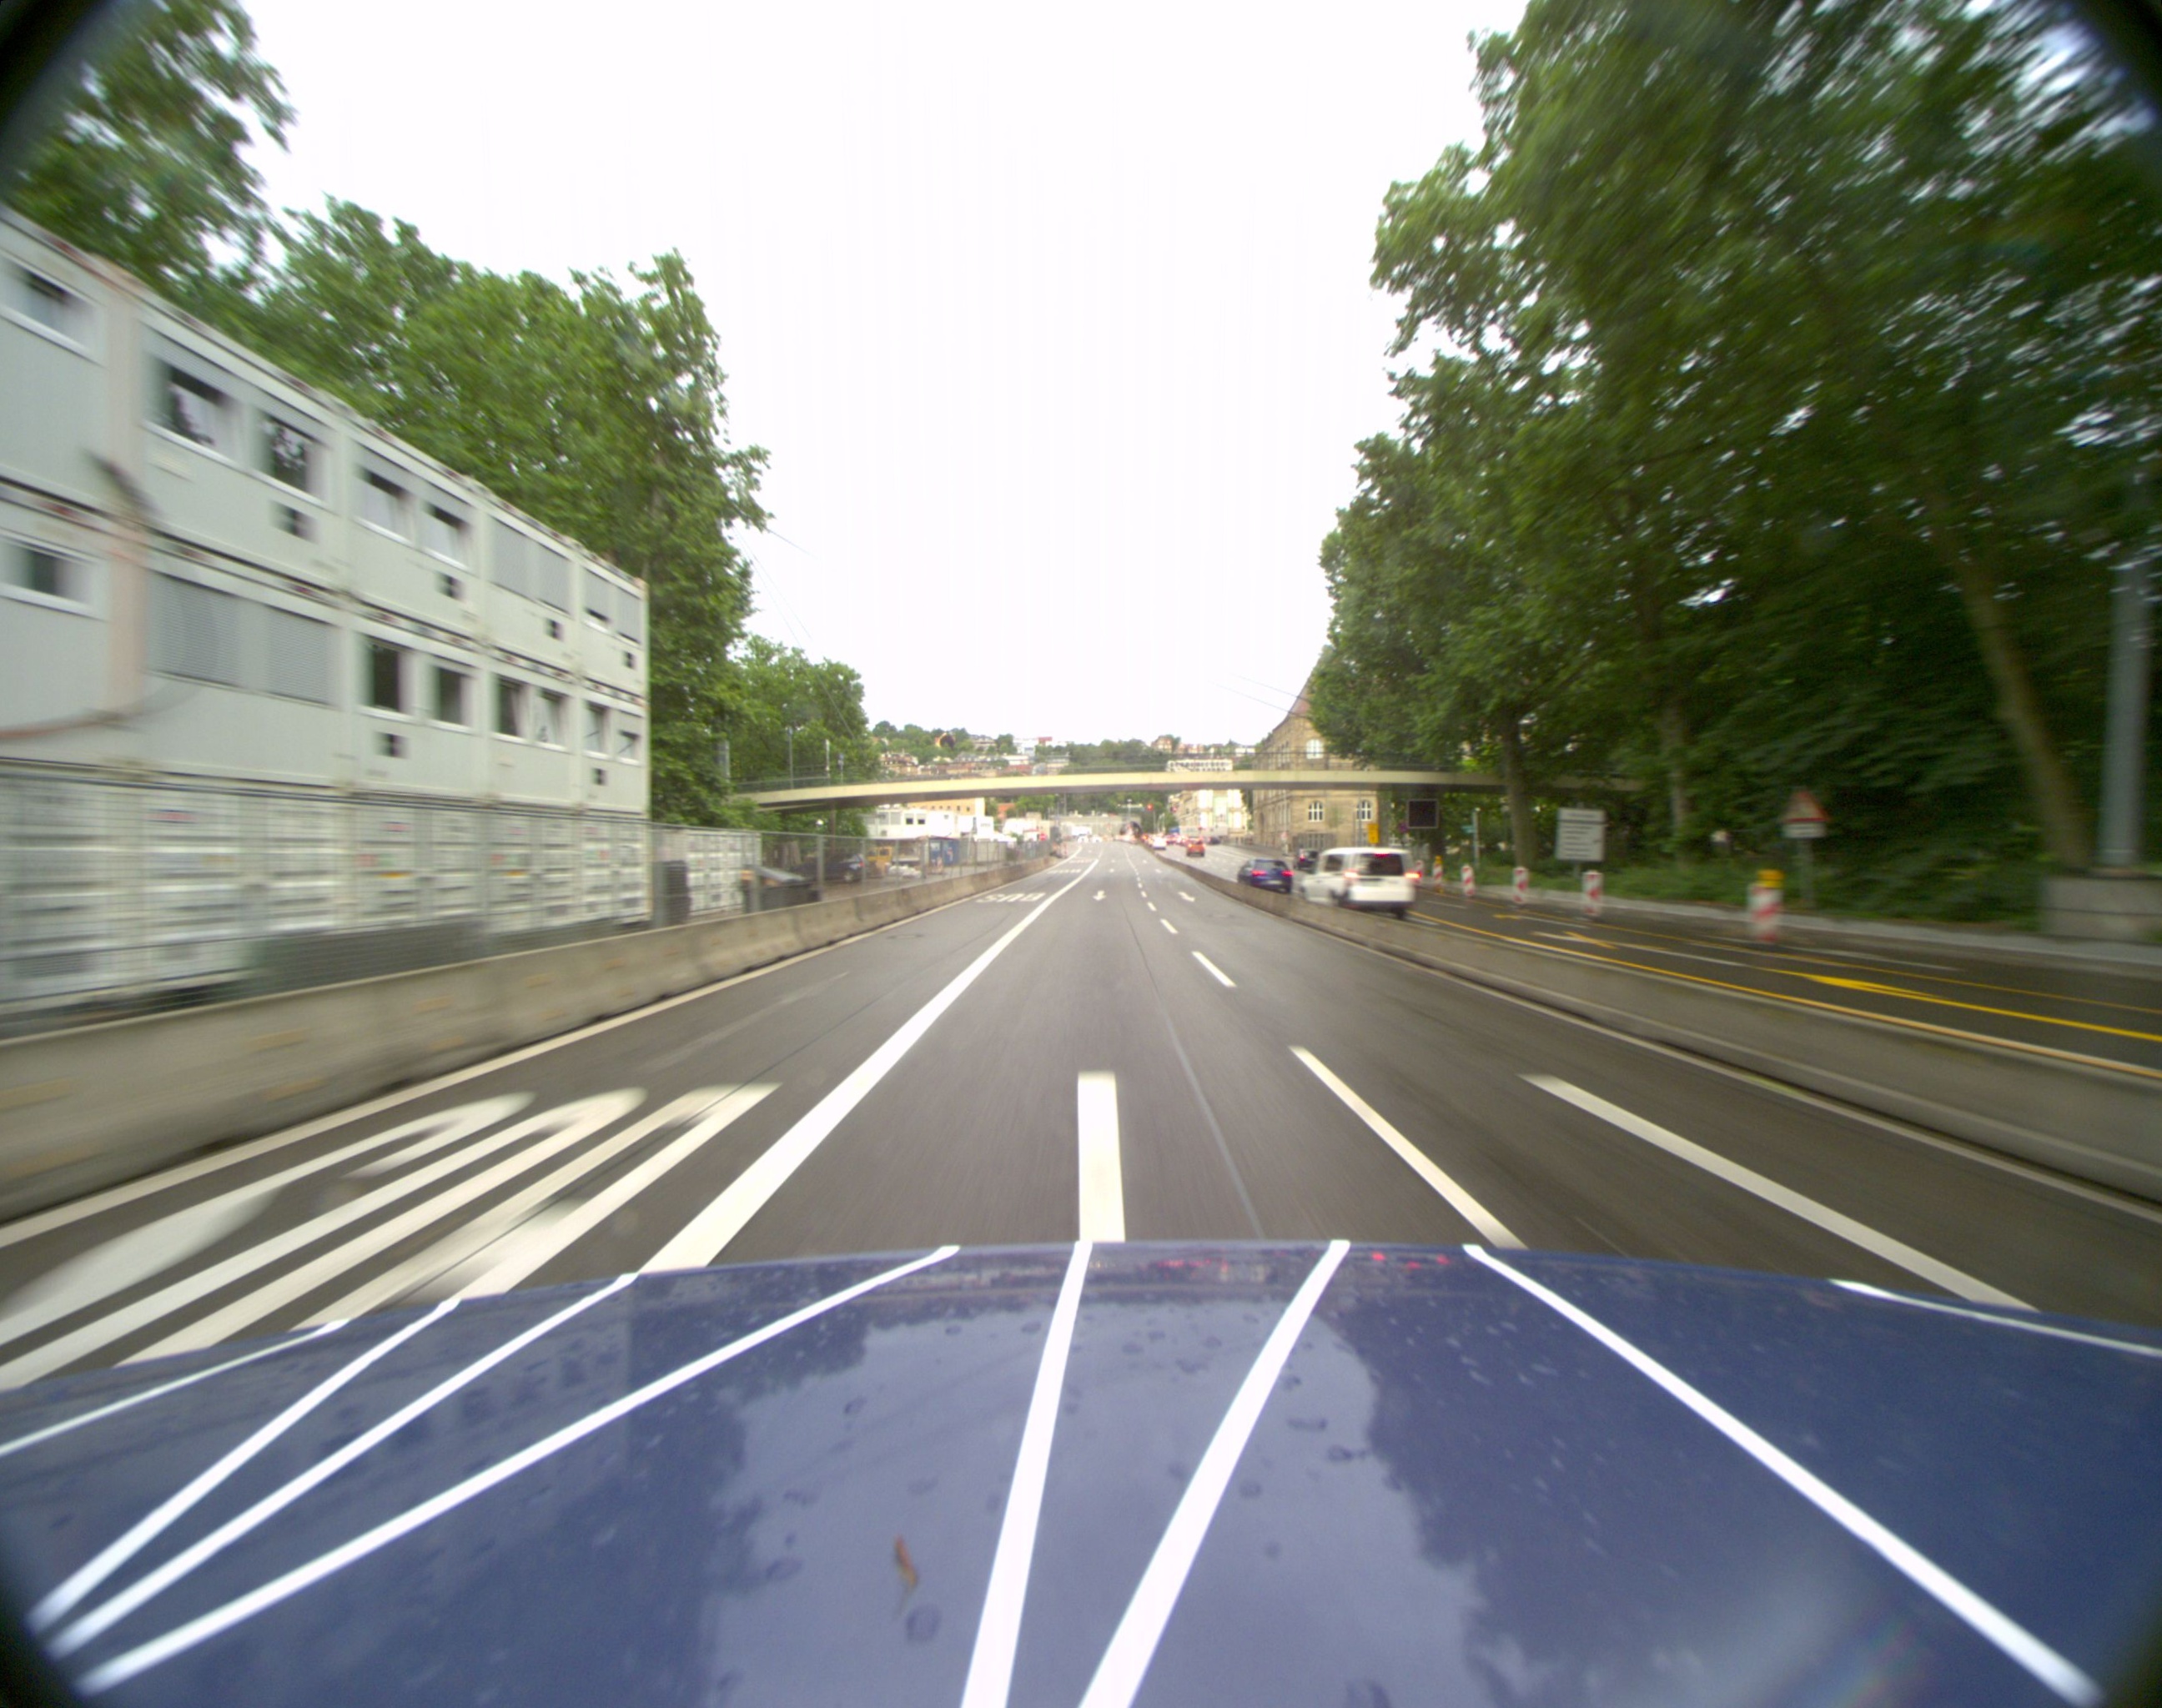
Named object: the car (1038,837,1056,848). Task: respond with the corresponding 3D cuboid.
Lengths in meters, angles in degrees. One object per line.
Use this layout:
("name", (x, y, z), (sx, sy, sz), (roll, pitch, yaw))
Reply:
("car", (-4.750, -1.668, 107.551), (1.836, 1.433, 4.413), (-2, 3, 6))

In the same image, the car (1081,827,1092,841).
("car", (1.662, -6.205, 235.257), (2.836, 3.992, 8.722), (1, 3, 3))

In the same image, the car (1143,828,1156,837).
("car", (12.540, -3.898, 139.354), (1.999, 1.559, 5.379), (1, 3, 0))

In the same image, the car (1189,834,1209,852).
("car", (14.243, -1.336, 91.993), (2.035, 1.926, 5.044), (1, 3, 6))

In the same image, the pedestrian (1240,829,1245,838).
("pedestrian", (29.650, -3.722, 139.793), (0.618, 1.576, 0.734), (1, 3, -5))

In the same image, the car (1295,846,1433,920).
("car", (7.422, 0.666, 20.524), (2.035, 1.644, 4.911), (1, 1, 2))

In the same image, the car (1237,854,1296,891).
("car", (7.770, 0.734, 32.135), (1.715, 1.331, 4.062), (3, 1, 4))

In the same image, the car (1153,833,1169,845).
("car", (11.808, -2.197, 112.788), (1.898, 1.559, 4.896), (1, 3, 1))

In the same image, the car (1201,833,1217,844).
("car", (24.192, -2.939, 143.550), (1.999, 2.003, 3.996), (1, 3, -5))

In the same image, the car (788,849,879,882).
("car", (-14.132, 0.633, 43.564), (4.511, 1.718, 1.999), (-1, 2, -3))

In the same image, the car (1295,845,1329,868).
("car", (17.442, 0.173, 57.293), (2.032, 1.643, 4.326), (0, 0, 22))

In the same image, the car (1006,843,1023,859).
("car", (-7.744, -0.400, 88.325), (1.856, 1.477, 3.994), (1, 5, -5))

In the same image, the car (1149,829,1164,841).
("car", (11.953, -2.994, 119.790), (1.914, 1.856, 4.376), (1, 3, 0))

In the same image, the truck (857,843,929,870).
("truck", (-15.065, 0.152, 61.163), (5.168, 2.003, 2.407), (-1, 3, -4))

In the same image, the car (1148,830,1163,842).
("car", (12.334, -3.068, 126.304), (1.998, 1.856, 5.593), (1, 3, 1))

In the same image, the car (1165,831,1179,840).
("car", (16.408, -3.381, 137.264), (1.999, 1.375, 4.209), (1, 3, -2))

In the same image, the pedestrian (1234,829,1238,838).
("pedestrian", (28.647, -3.838, 140.252), (0.618, 1.576, 0.734), (1, 3, 3))

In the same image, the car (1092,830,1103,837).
("car", (3.903, -4.973, 182.745), (2.000, 1.562, 3.996), (1, 3, -6))

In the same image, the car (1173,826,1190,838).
("car", (17.365, -3.775, 131.337), (1.999, 2.003, 3.996), (1, 3, -5))
